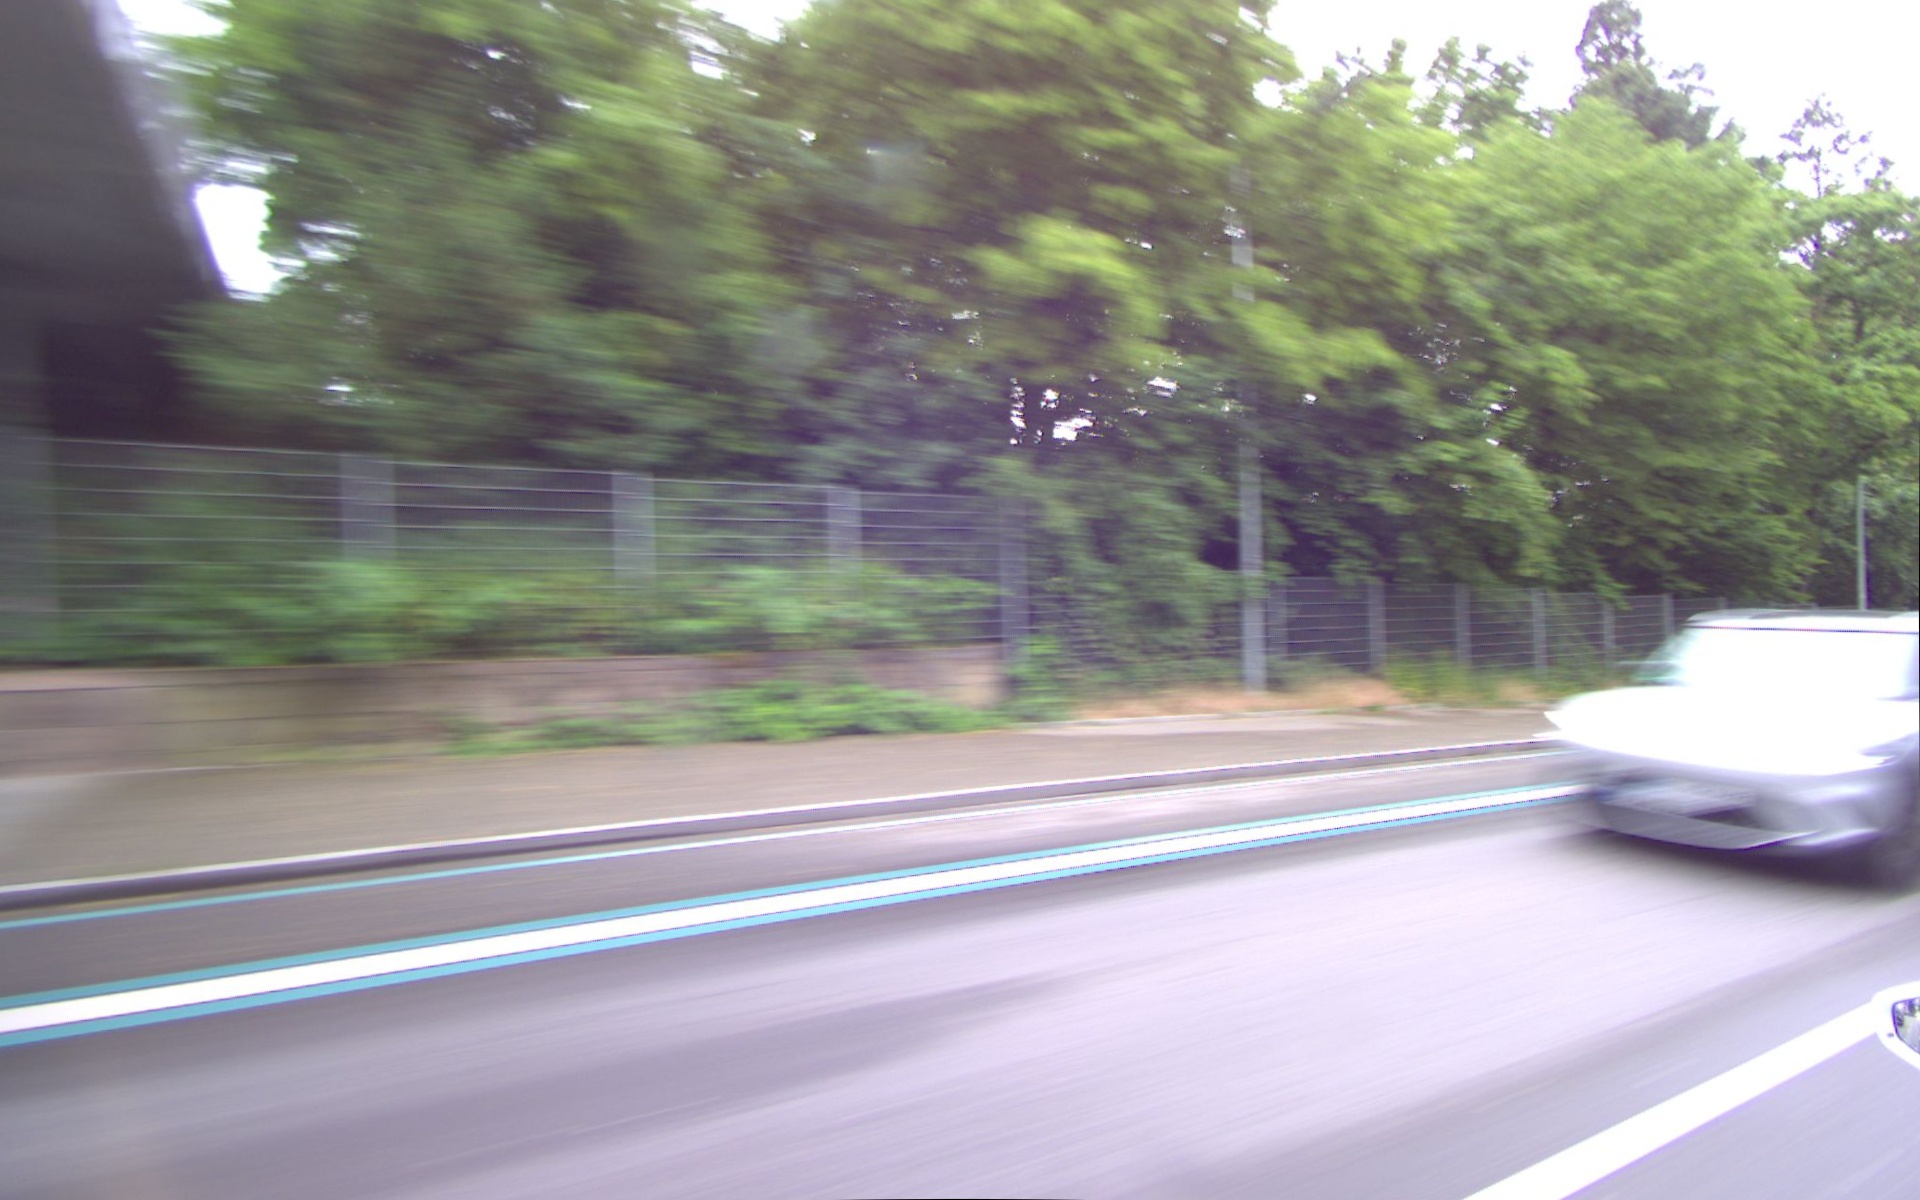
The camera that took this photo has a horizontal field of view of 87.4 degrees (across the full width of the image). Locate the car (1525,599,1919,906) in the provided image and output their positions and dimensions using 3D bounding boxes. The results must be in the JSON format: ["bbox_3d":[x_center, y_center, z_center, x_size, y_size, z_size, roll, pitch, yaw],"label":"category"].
[{"bbox_3d":[6.011,0.867,7.053,4.054,1.597,1.788,2,-2,-30],"label":"car"}]
